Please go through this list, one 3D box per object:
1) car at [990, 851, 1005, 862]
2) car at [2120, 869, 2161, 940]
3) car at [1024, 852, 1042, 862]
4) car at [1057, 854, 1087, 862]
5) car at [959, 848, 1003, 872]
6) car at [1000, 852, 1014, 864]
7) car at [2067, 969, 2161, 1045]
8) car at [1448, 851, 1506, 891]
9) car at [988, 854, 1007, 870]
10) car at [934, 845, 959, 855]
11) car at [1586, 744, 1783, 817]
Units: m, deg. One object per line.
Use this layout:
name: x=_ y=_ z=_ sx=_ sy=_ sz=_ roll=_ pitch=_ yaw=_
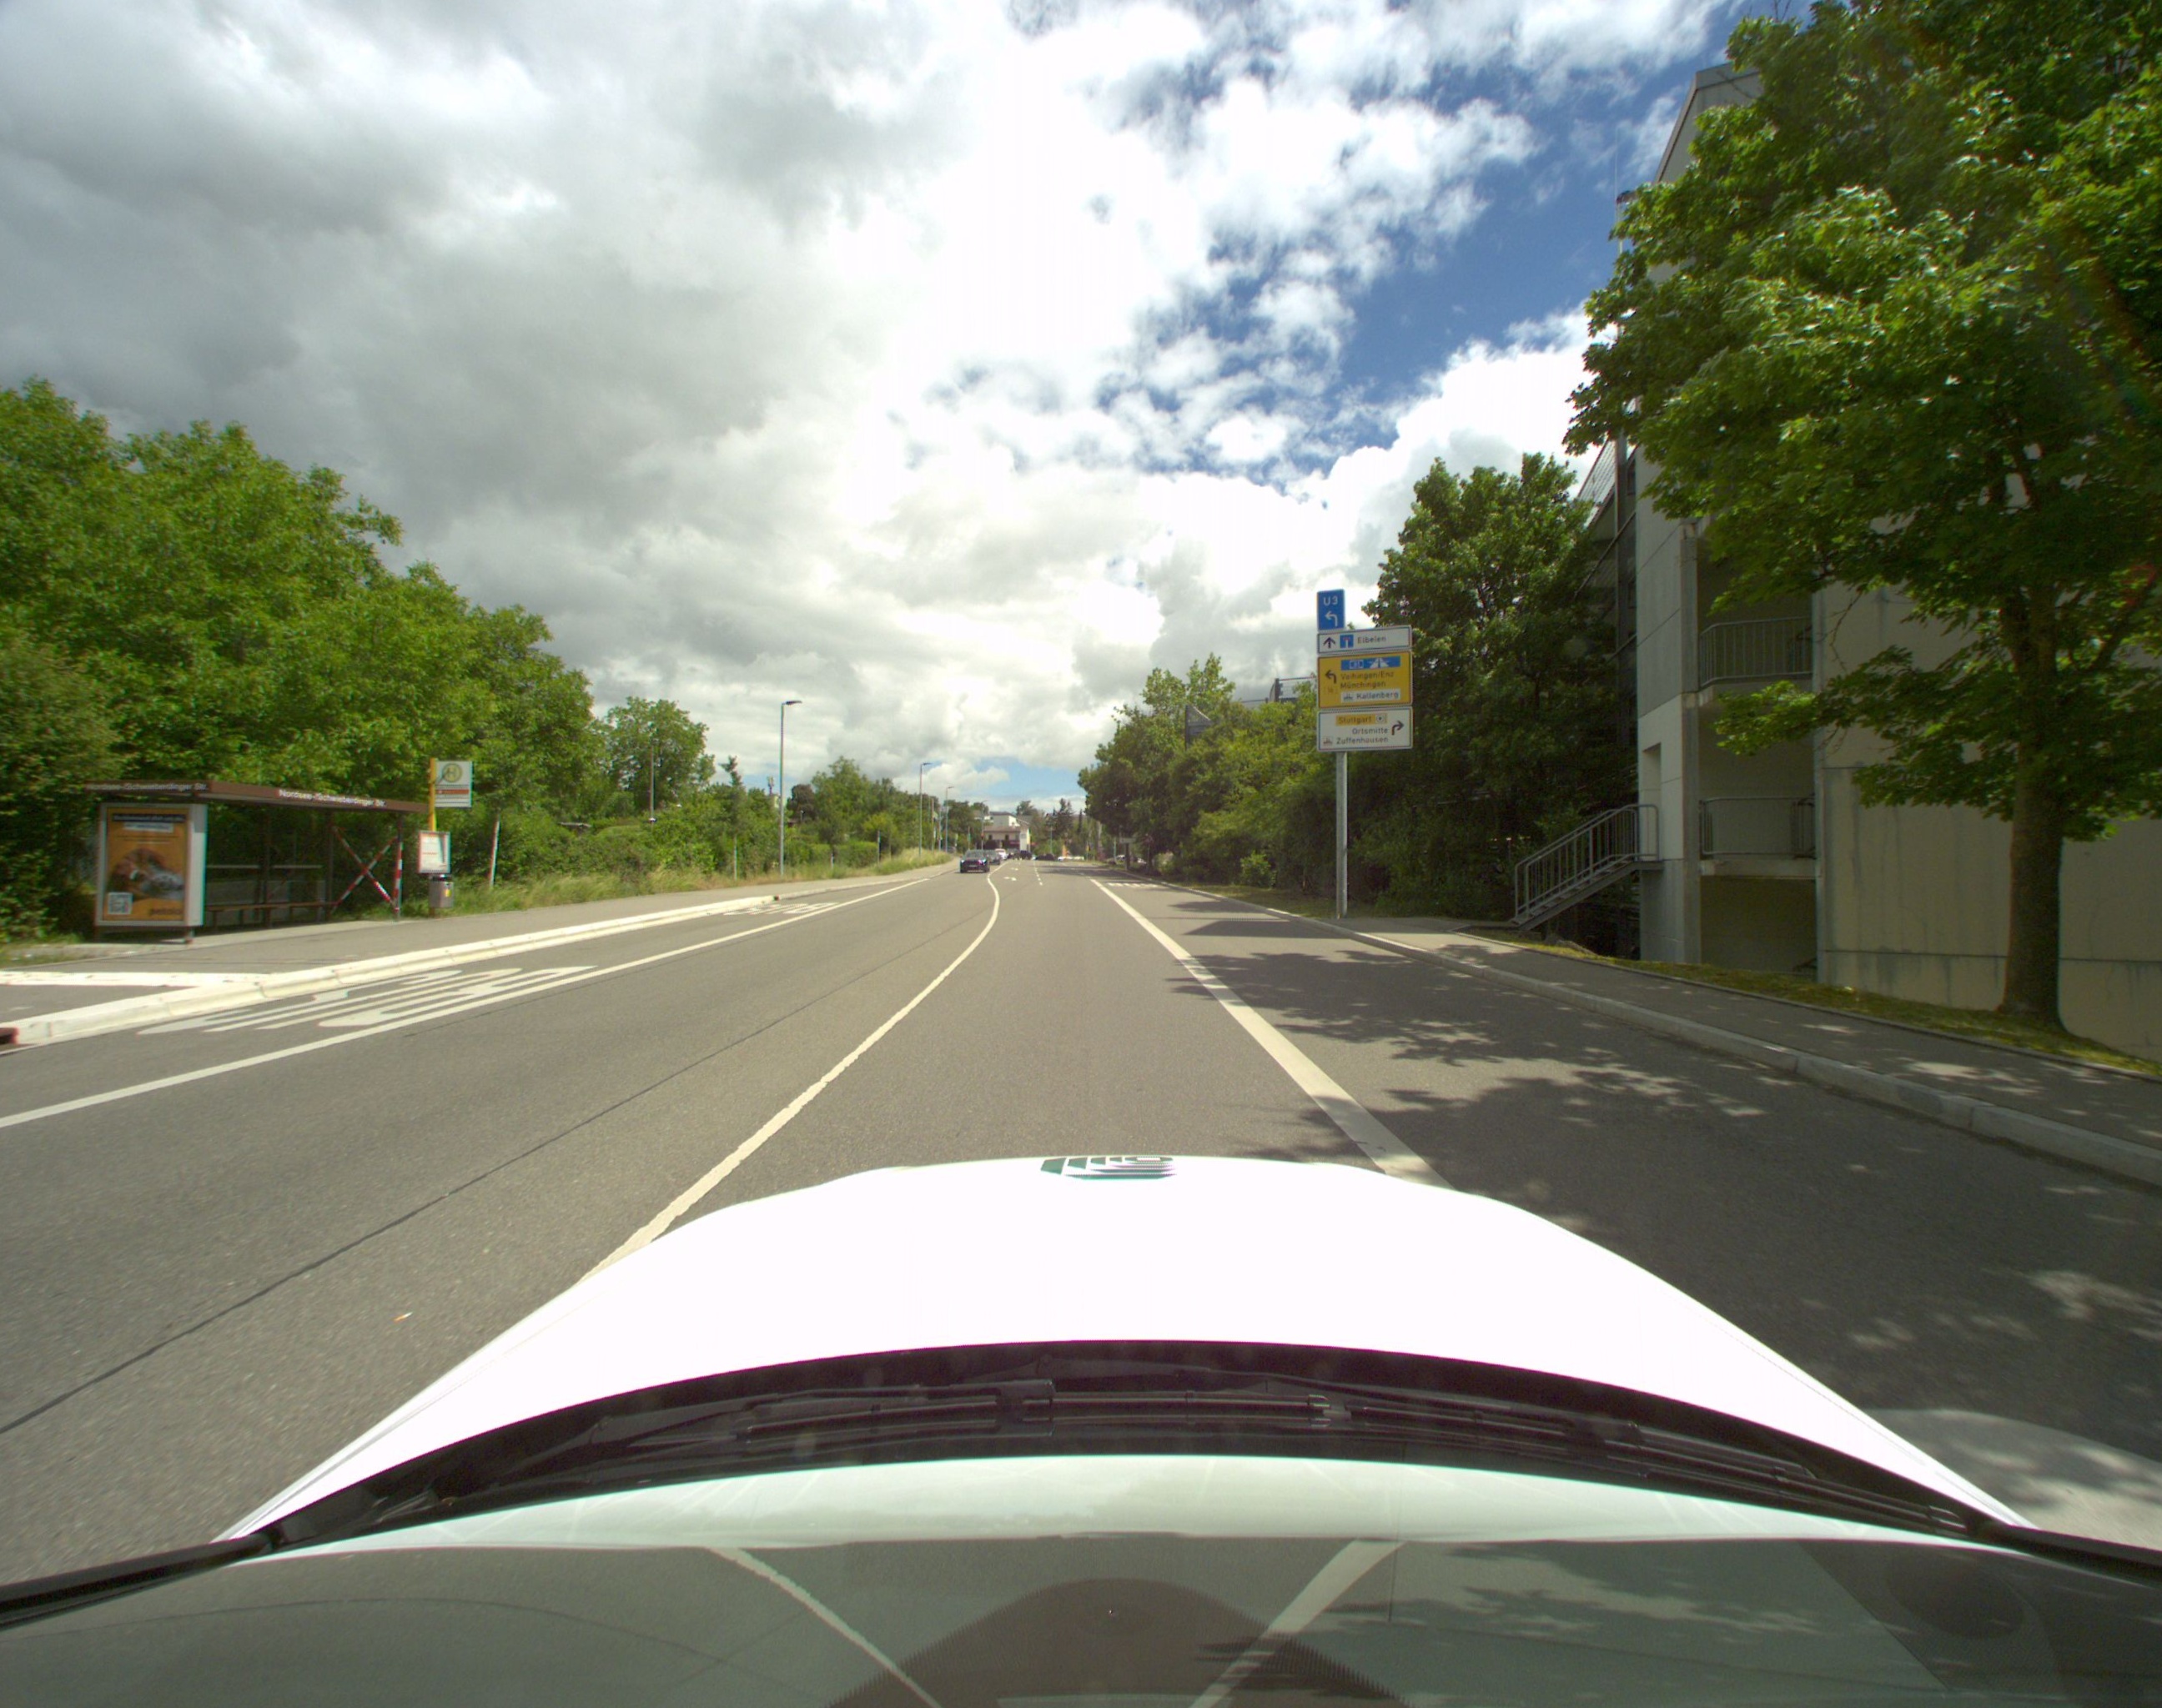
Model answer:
car: x=-10.712 y=0.321 z=104.717 sx=1.763 sy=1.442 sz=3.893 roll=-1 pitch=0 yaw=-4
car: x=27.398 y=1.203 z=18.484 sx=4.274 sy=1.630 sz=2.011 roll=0 pitch=0 yaw=25
car: x=-9.388 y=0.578 z=160.040 sx=1.913 sy=1.860 sz=3.769 roll=0 pitch=-2 yaw=-35
car: x=-1.442 y=0.652 z=134.136 sx=4.617 sy=1.291 sz=1.895 roll=0 pitch=-1 yaw=-26
car: x=-6.945 y=0.391 z=56.964 sx=1.812 sy=1.557 sz=4.641 roll=-1 pitch=0 yaw=9
car: x=-10.975 y=0.575 z=120.893 sx=1.816 sy=1.654 sz=4.530 roll=0 pitch=0 yaw=-1
car: x=27.376 y=3.777 z=19.561 sx=4.274 sy=1.489 sz=2.011 roll=0 pitch=0 yaw=25
car: x=19.267 y=0.826 z=39.782 sx=1.863 sy=1.799 sz=3.720 roll=-2 pitch=-1 yaw=15
car: x=-8.165 y=0.782 z=79.854 sx=1.763 sy=1.442 sz=4.370 roll=-1 pitch=0 yaw=-4
car: x=-23.679 y=-0.696 z=143.599 sx=3.971 sy=1.712 sz=1.896 roll=-1 pitch=0 yaw=2
car: x=15.259 y=-1.817 z=20.825 sx=3.732 sy=1.624 sz=1.674 roll=0 pitch=0 yaw=20
